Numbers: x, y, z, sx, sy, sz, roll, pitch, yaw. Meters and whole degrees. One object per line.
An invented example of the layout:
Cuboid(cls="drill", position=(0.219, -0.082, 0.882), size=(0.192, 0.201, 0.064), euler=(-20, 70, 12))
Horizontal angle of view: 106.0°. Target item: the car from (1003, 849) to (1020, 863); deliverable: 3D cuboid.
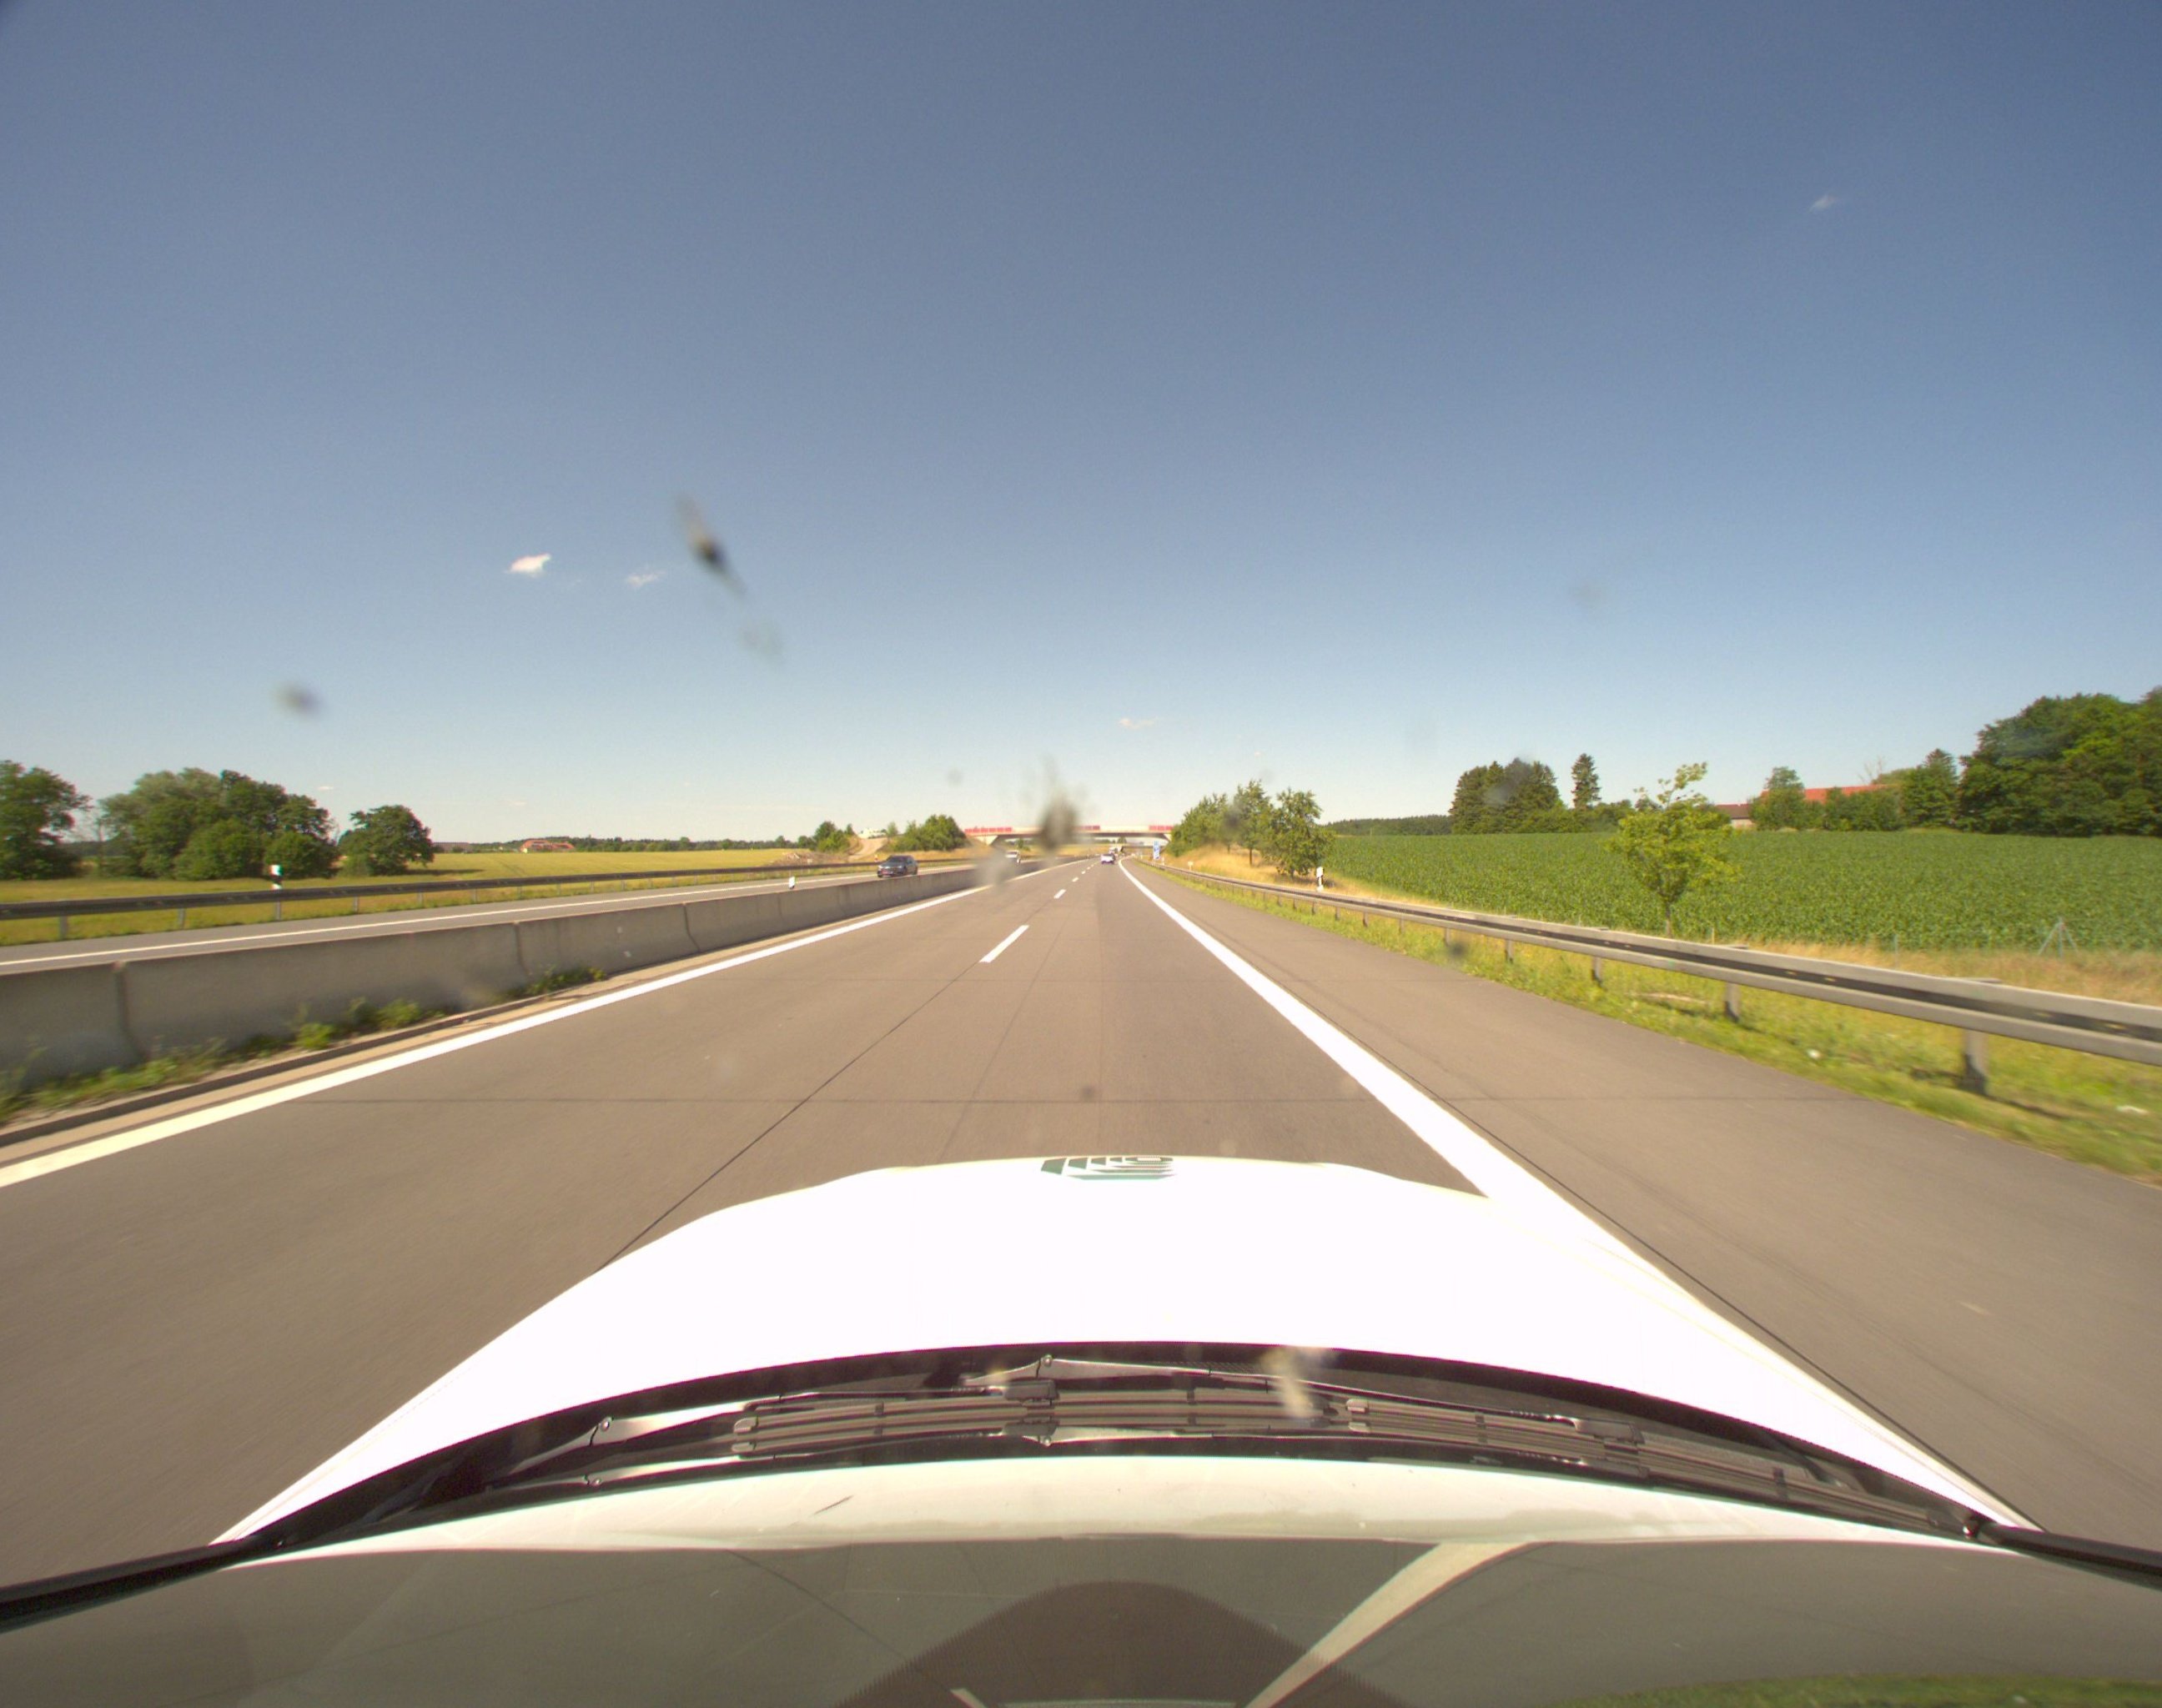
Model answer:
Cuboid(cls="car", position=(-10.573, 0.377, 124.277), size=(1.987, 2.014, 5.716), euler=(2, -1, 1))

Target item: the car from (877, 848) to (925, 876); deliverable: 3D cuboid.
Cuboid(cls="car", position=(-11.916, 0.513, 54.206), size=(1.900, 1.685, 5.009), euler=(2, 1, 2))

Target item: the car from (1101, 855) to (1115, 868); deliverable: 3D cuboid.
Cuboid(cls="car", position=(3.982, 1.067, 118.697), size=(1.986, 1.731, 4.871), euler=(-1, 0, 2))

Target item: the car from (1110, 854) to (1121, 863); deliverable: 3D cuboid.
Cuboid(cls="car", position=(7.312, 0.924, 171.105), size=(1.984, 1.731, 4.875), euler=(-1, 0, 5))
